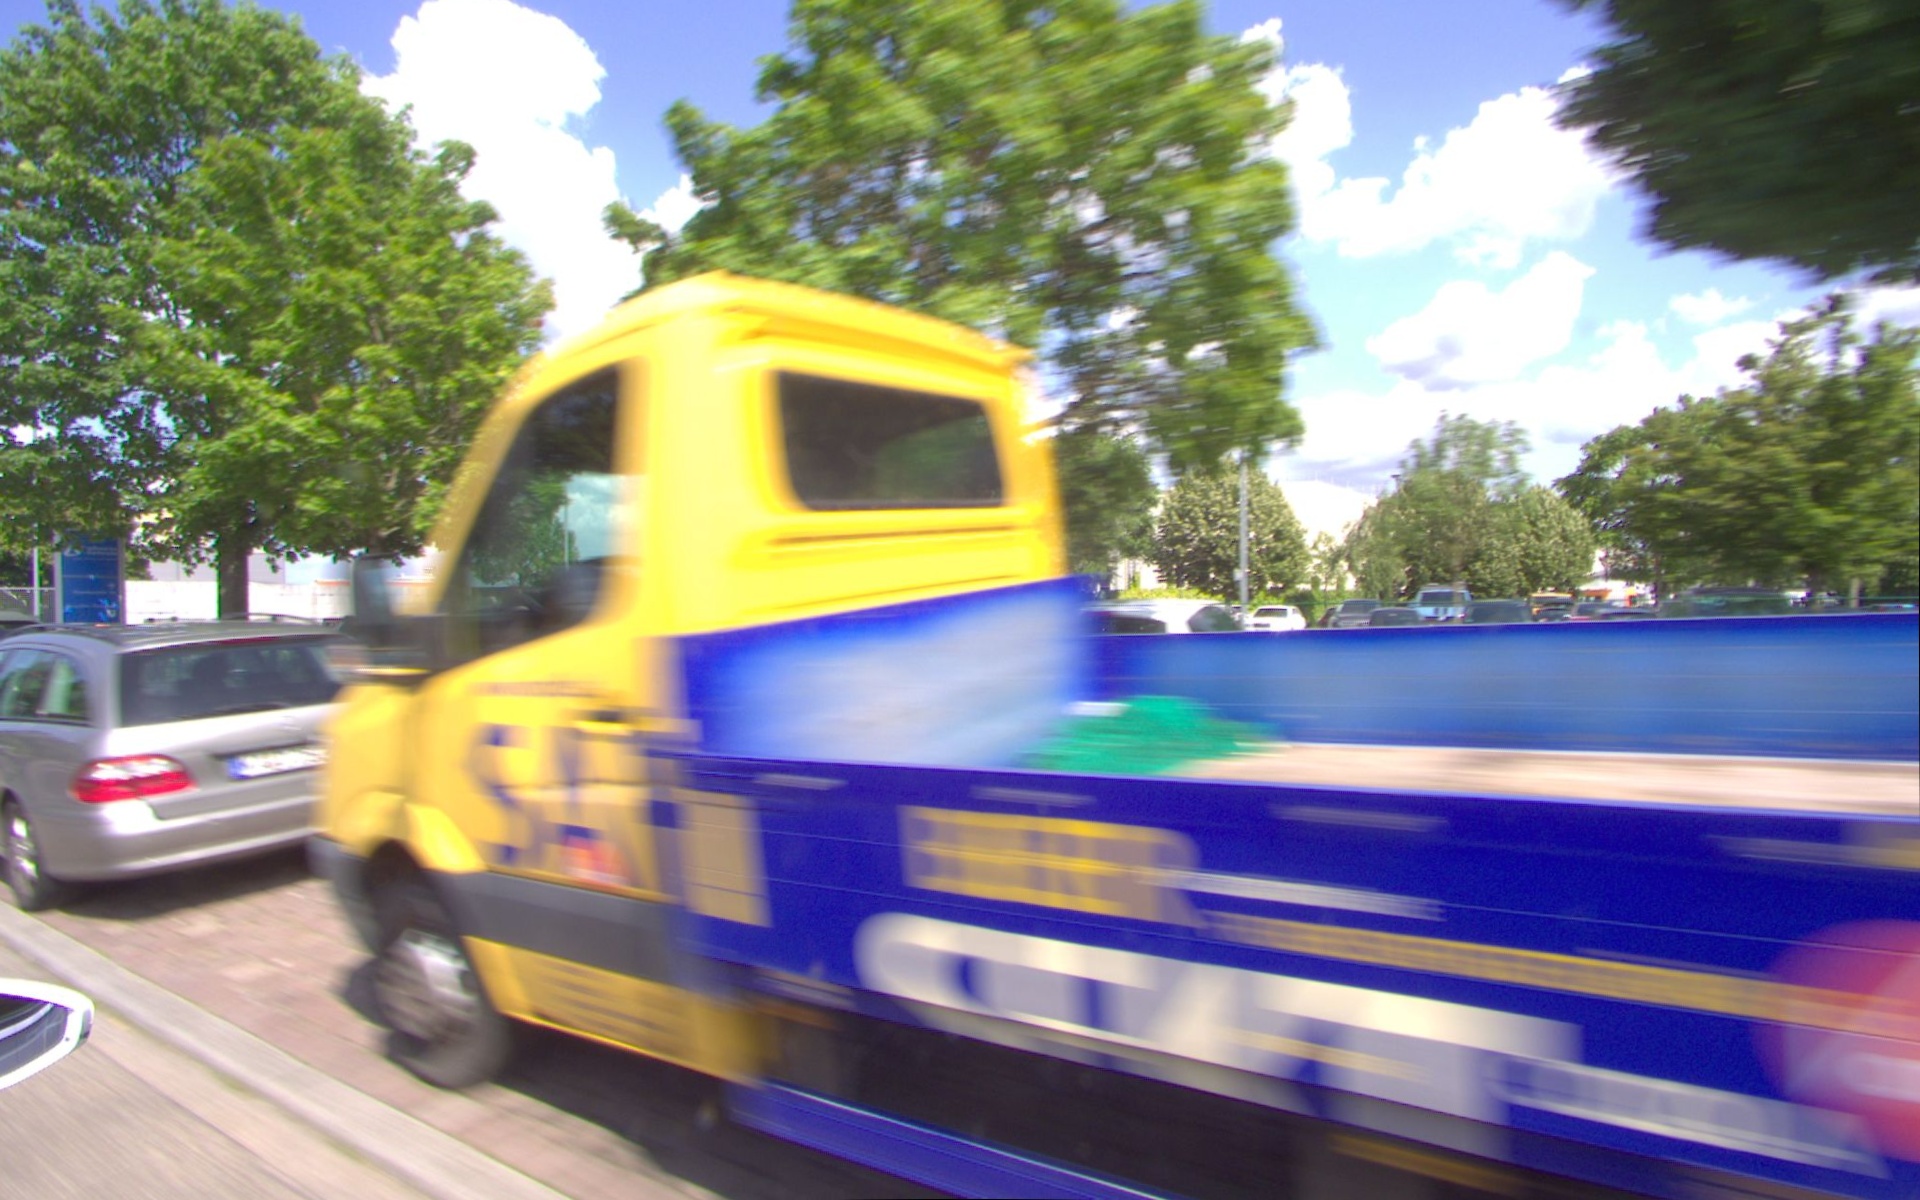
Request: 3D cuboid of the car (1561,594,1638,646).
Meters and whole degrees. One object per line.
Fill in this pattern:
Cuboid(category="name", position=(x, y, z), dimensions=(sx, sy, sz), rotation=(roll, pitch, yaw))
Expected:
Cuboid(category="car", position=(20.584, 0.680, 32.367), dimensions=(1.862, 1.576, 3.984), rotation=(-1, -2, 30))

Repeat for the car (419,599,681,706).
Cuboid(category="car", position=(-7.126, 0.835, 17.707), dimensions=(1.887, 1.658, 3.858), rotation=(-1, 0, 39))

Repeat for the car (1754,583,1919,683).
Cuboid(category="car", position=(19.060, 0.697, 21.833), dimensions=(1.967, 1.960, 4.079), rotation=(-1, -1, 27))

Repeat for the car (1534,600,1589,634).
Cuboid(category="car", position=(26.921, 0.792, 44.929), dimensions=(1.970, 1.417, 4.264), rotation=(0, -2, 30))

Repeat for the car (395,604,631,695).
Cuboid(category="car", position=(-8.826, 0.909, 20.010), dimensions=(1.887, 1.614, 3.858), rotation=(-1, 0, 39))

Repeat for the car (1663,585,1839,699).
Cuboid(category="car", position=(13.194, 0.647, 16.963), dimensions=(1.812, 1.662, 4.471), rotation=(0, -1, 32))

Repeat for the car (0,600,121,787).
Cuboid(category="car", position=(-10.450, 0.895, 10.259), dimensions=(4.511, 1.630, 1.824), rotation=(-1, 3, 38))

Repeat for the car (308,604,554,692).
Cuboid(category="car", position=(-11.035, 0.932, 21.119), dimensions=(1.887, 1.614, 4.191), rotation=(-1, 0, 39))

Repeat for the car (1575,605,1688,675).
Cuboid(category="car", position=(15.610, 0.914, 23.450), dimensions=(1.725, 1.431, 3.749), rotation=(2, -1, 27))

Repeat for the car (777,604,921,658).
Cuboid(category="car", position=(-3.108, 0.838, 28.524), dimensions=(1.991, 1.414, 3.734), rotation=(0, -1, 42))

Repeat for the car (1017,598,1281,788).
Cuboid(category="car", position=(2.320, 0.836, 11.219), dimensions=(1.736, 1.643, 4.313), rotation=(-1, 1, 27))

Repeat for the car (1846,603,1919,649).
Cuboid(category="car", position=(37.981, 1.092, 40.833), dimensions=(1.970, 1.792, 3.983), rotation=(-1, -2, 30))

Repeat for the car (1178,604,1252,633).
Cuboid(category="car", position=(14.687, 1.076, 57.837), dimensions=(1.731, 1.569, 3.973), rotation=(0, -1, -36))

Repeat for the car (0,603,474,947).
Cuboid(category="car", position=(-5.627, 0.847, 6.754), dimensions=(5.096, 1.497, 1.869), rotation=(-1, 2, 34))

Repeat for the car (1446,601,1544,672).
Cuboid(category="car", position=(13.249, 0.870, 24.749), dimensions=(1.970, 1.577, 4.263), rotation=(-1, -1, 29))

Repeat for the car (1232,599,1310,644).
Cuboid(category="car", position=(11.890, 0.854, 38.126), dimensions=(1.970, 1.576, 4.264), rotation=(0, -2, 30))

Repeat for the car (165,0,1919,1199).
Cuboid(category="car", position=(0.438, 0.203, 2.740), dimensions=(6.548, 2.498, 2.151), rotation=(-1, 1, 34))

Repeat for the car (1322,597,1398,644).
Cuboid(category="car", position=(14.425, 0.768, 35.957), dimensions=(1.971, 1.576, 3.983), rotation=(-1, -2, 30))

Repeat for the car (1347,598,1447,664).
Cuboid(category="car", position=(11.536, 0.784, 26.298), dimensions=(1.970, 1.577, 4.263), rotation=(-1, -1, 29))

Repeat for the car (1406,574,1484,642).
Cuboid(category="car", position=(16.758, 0.356, 34.468), dimensions=(2.079, 2.130, 4.922), rotation=(-1, -2, 30))

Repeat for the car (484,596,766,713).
Cuboid(category="car", position=(-5.212, 0.771, 15.950), dimensions=(1.887, 1.614, 3.858), rotation=(-1, 0, 39))
